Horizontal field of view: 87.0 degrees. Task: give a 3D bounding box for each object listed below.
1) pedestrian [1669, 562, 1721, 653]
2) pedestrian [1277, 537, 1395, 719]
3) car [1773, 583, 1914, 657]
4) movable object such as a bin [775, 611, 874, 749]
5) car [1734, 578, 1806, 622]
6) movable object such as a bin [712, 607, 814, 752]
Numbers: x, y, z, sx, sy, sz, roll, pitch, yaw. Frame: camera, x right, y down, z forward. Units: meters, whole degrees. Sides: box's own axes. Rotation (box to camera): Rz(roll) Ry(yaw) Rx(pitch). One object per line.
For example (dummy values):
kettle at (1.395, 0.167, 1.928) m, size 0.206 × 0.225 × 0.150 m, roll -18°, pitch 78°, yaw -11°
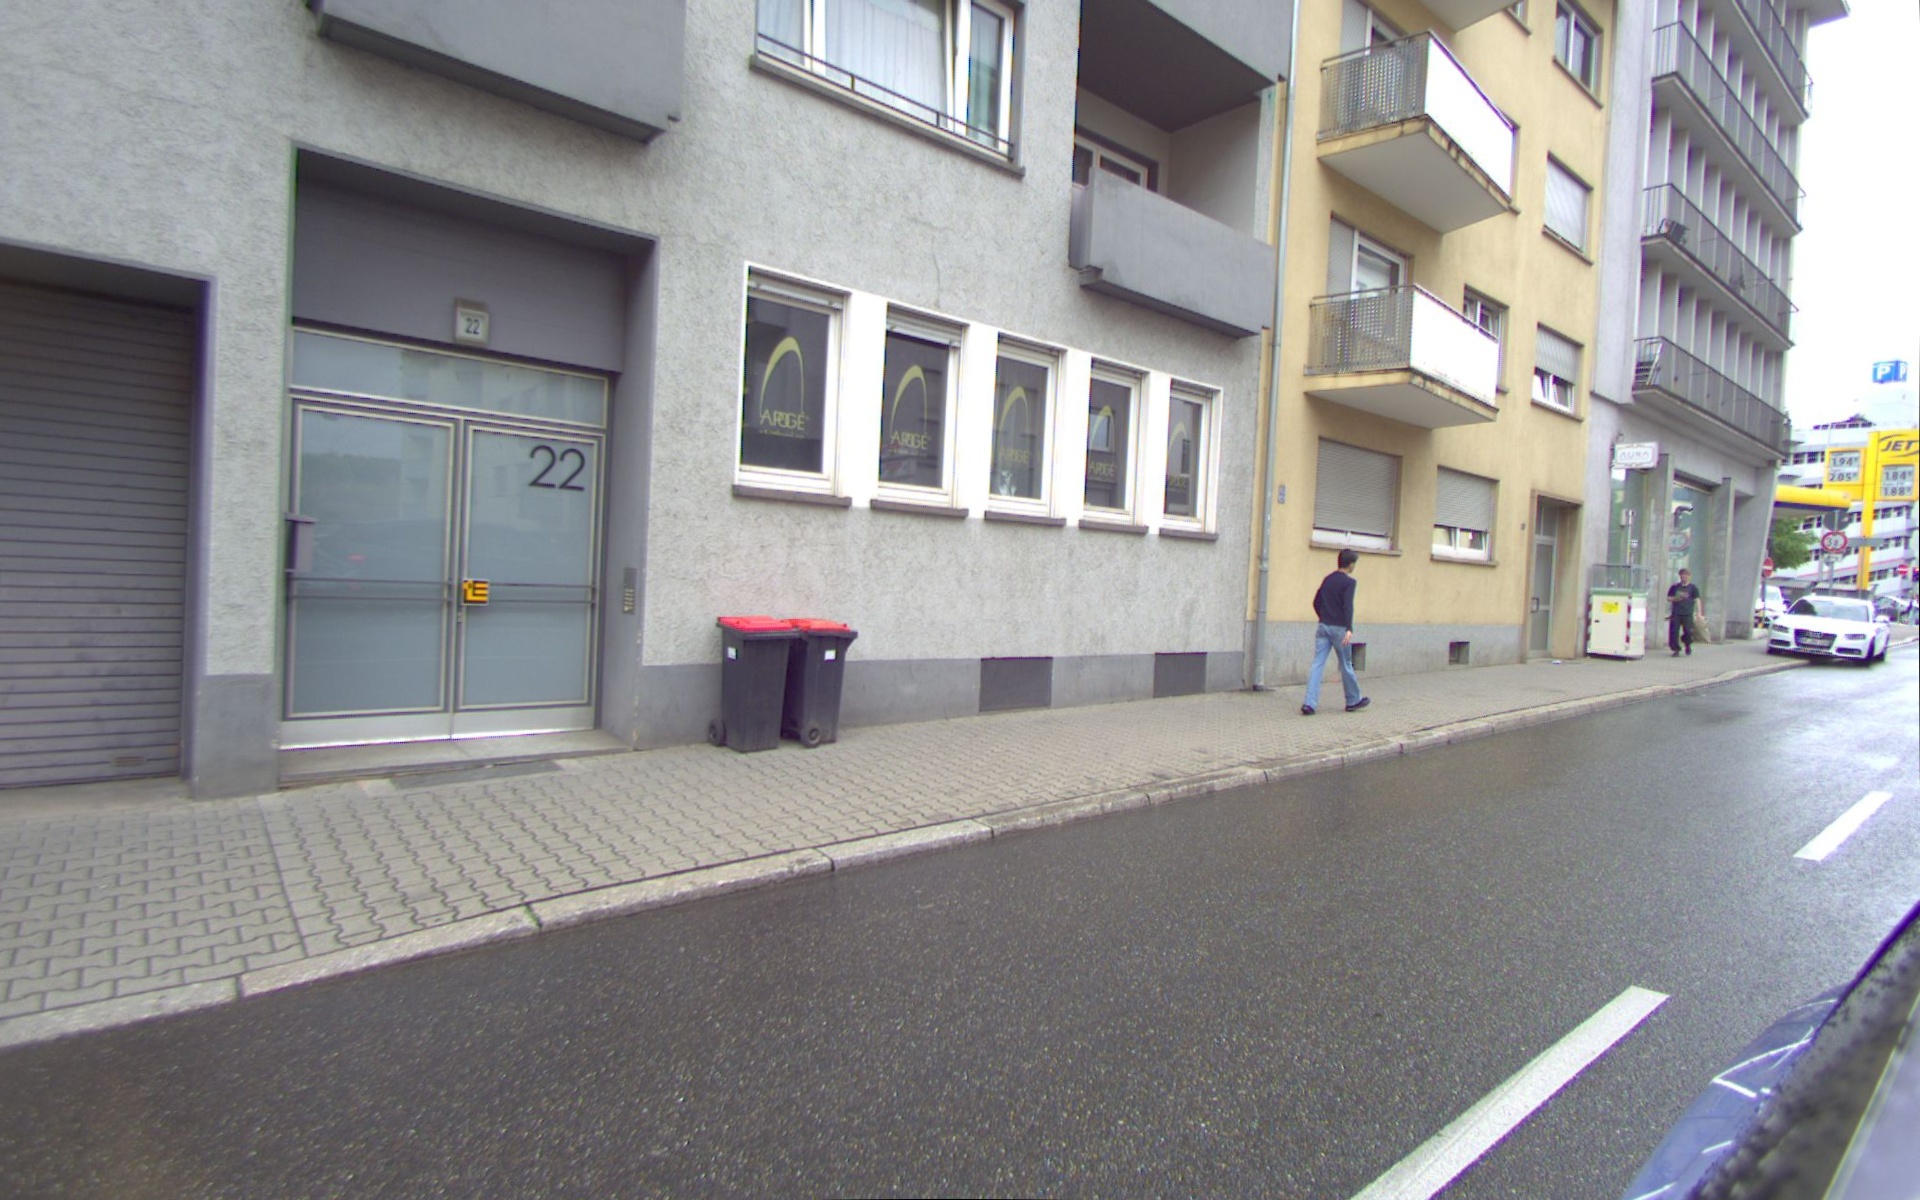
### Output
pedestrian at (14.996, 0.138, 20.652) m, size 0.677 × 1.777 × 0.874 m, roll 4°, pitch 3°, yaw 44°
pedestrian at (3.976, 0.263, 10.695) m, size 1.038 × 1.799 × 0.644 m, roll 0°, pitch 5°, yaw -41°
car at (20.143, 0.397, 23.032) m, size 4.093 × 1.453 × 1.803 m, roll 0°, pitch 4°, yaw -41°
movable object such as a bin at (-1.049, 0.594, 7.812) m, size 0.506 × 0.961 × 0.541 m, roll 0°, pitch 5°, yaw -40°
car at (29.146, -0.019, 36.518) m, size 1.761 × 1.493 × 3.949 m, roll 0°, pitch 0°, yaw 35°
movable object such as a bin at (-1.459, 0.563, 7.481) m, size 0.506 × 0.967 × 0.541 m, roll 0°, pitch 5°, yaw -40°
